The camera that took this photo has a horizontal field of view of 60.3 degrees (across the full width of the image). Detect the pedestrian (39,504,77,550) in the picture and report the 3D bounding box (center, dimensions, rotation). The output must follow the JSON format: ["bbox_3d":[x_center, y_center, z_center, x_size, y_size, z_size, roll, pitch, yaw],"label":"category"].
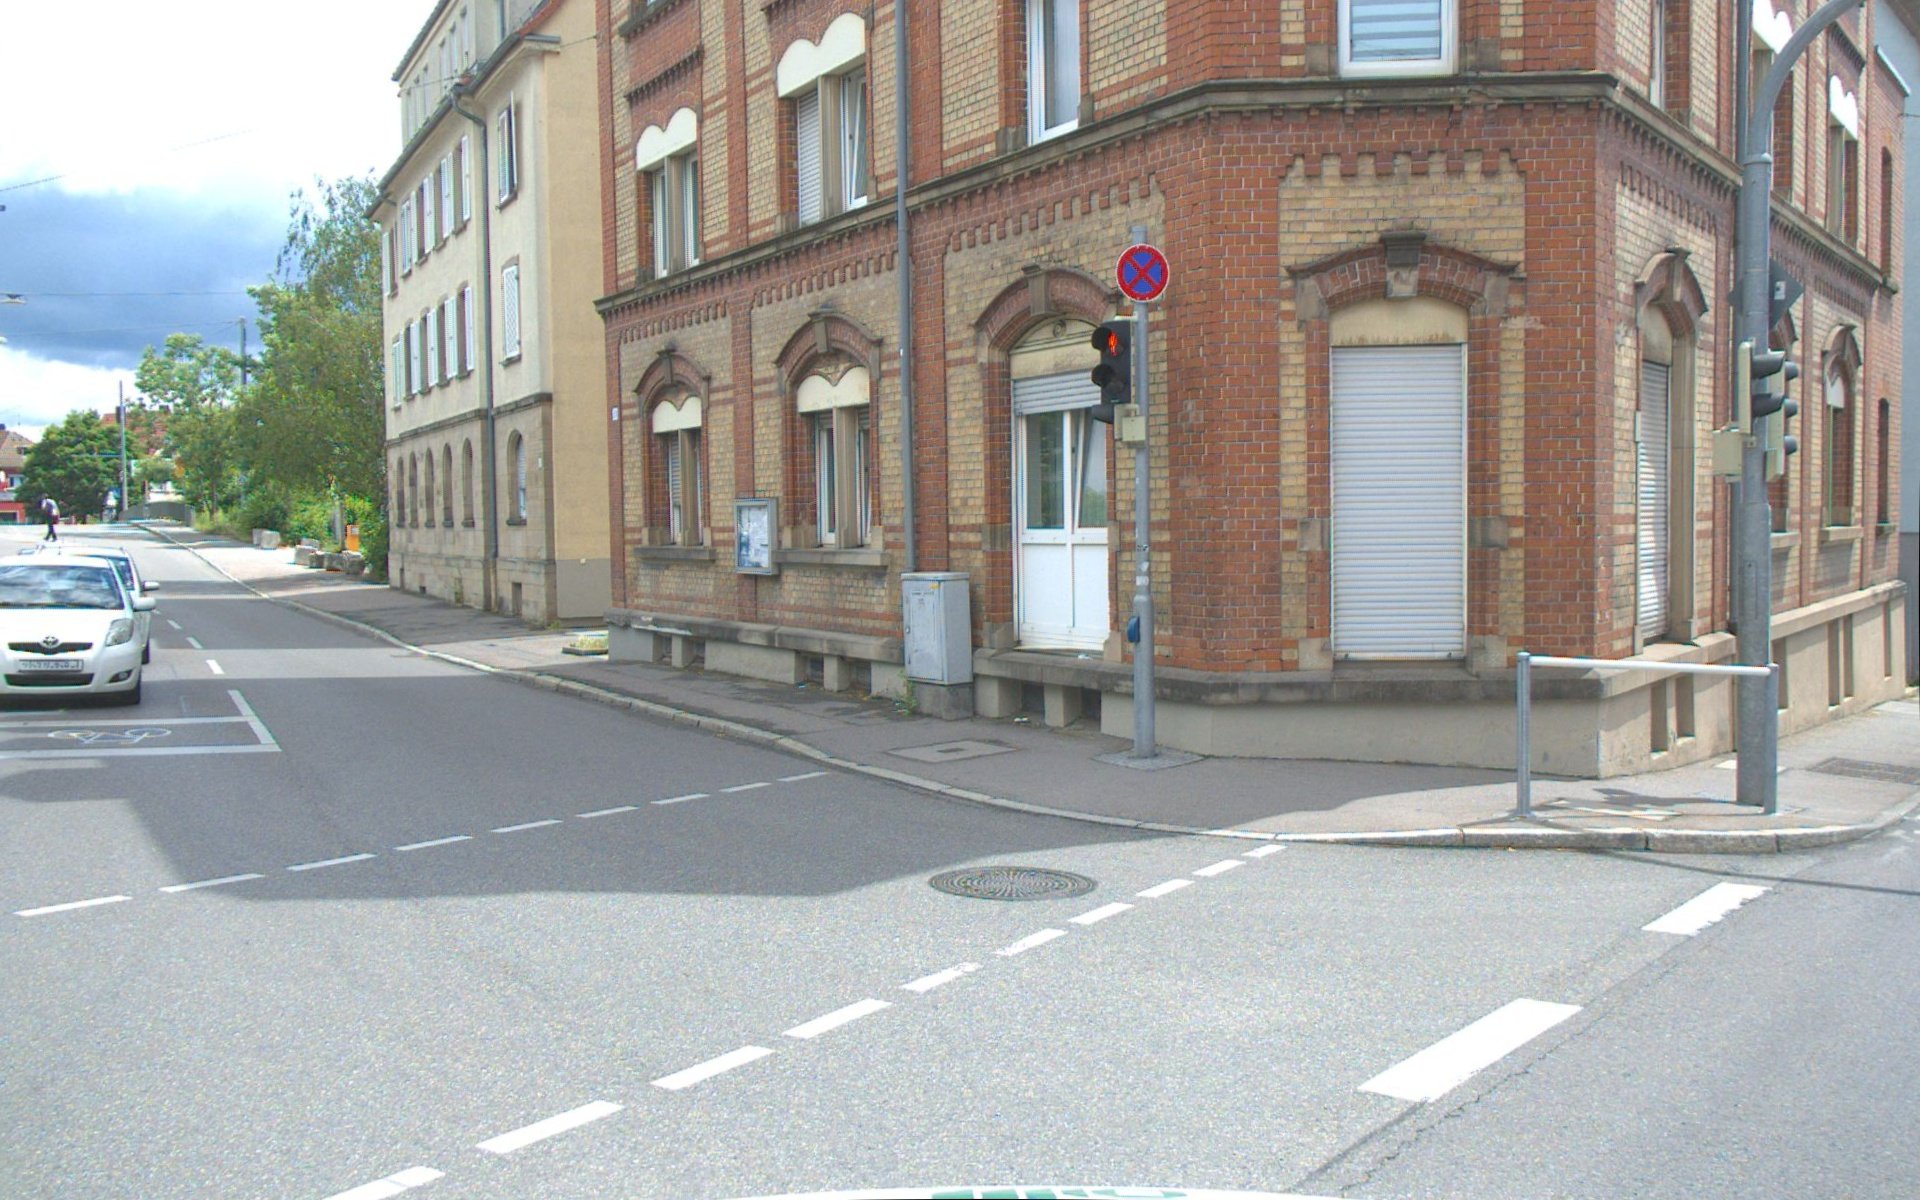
[{"bbox_3d":[-37.219,-3.028,68.260,1.012,1.868,0.999,1,3,0],"label":"pedestrian"}]

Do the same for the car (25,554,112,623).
[{"bbox_3d":[-22.119,-0.299,40.959,1.702,1.609,3.958,1,1,-31],"label":"car"}]

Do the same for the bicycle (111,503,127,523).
[{"bbox_3d":[-44.920,-4.631,88.340,0.679,0.893,2.084,-1,-2,-26],"label":"bicycle"}]

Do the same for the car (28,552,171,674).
[{"bbox_3d":[-12.505,0.147,24.139,1.698,1.609,4.281,1,1,-27],"label":"car"}]

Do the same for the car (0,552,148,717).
[{"bbox_3d":[-9.861,0.311,18.115,1.698,1.609,3.965,1,1,-27],"label":"car"}]

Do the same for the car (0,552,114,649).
[{"bbox_3d":[-16.122,-0.024,29.594,1.698,1.609,4.214,1,1,-27],"label":"car"}]
